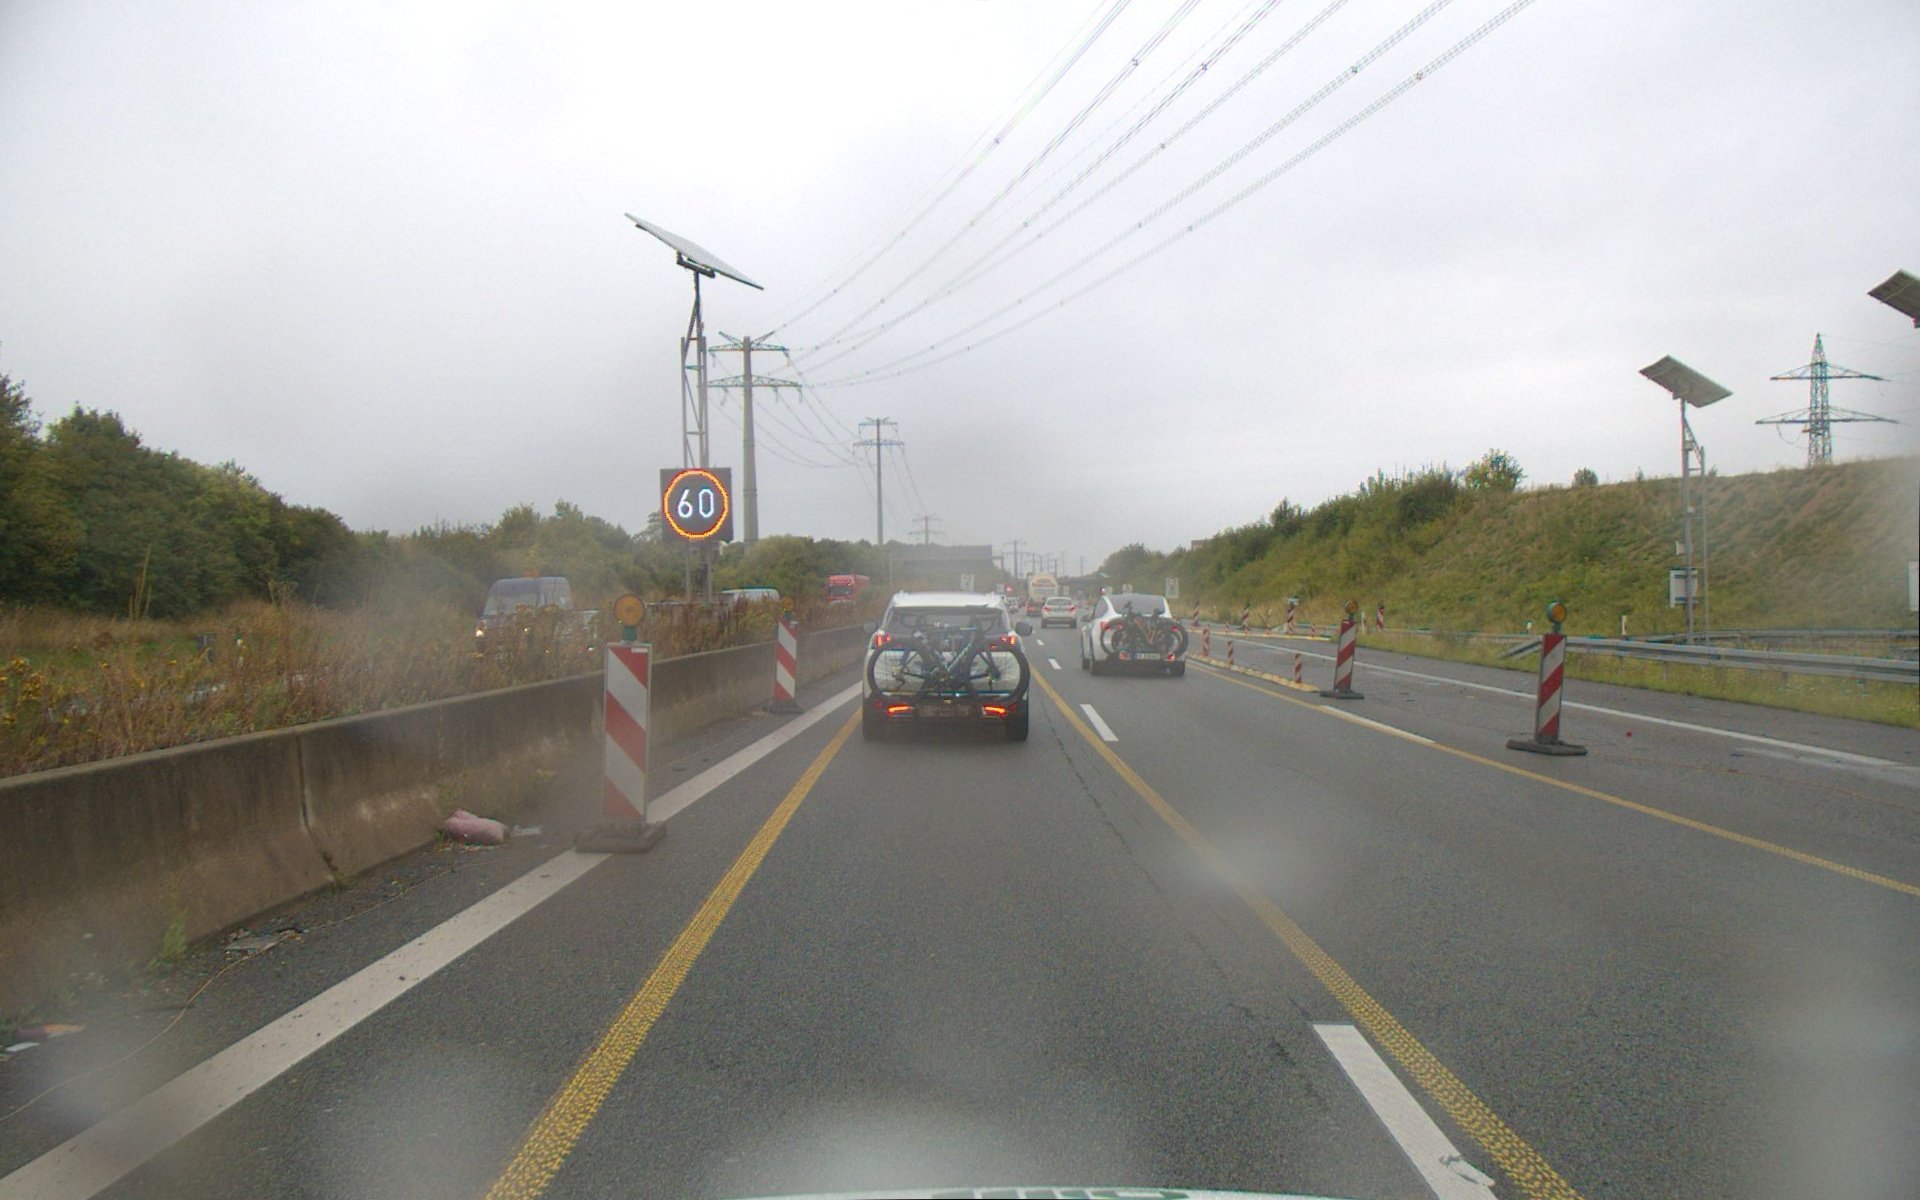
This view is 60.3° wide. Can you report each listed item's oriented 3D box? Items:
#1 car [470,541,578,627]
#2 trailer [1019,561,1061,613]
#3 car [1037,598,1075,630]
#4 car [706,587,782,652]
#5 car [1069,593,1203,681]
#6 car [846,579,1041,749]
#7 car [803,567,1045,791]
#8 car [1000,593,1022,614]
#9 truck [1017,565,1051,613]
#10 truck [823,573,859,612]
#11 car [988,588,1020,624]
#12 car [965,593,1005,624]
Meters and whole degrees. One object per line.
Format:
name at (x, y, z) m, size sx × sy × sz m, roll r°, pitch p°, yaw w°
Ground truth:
car at (-14.430, -0.476, 55.086) m, size 2.008 × 2.655 × 5.846 m, roll 1°, pitch -1°, yaw 0°
trailer at (6.492, -0.987, 135.015) m, size 2.584 × 3.961 × 10.539 m, roll 1°, pitch -1°, yaw -2°
car at (4.849, 0.675, 83.733) m, size 1.831 × 1.561 × 4.198 m, roll 0°, pitch 0°, yaw 2°
car at (-7.451, 0.661, 57.465) m, size 1.731 × 2.048 × 5.254 m, roll 4°, pitch 0°, yaw 1°
car at (3.520, 0.700, 34.177) m, size 2.004 × 1.624 × 5.799 m, roll 1°, pitch 0°, yaw -2°
car at (-0.130, 0.619, 18.418) m, size 1.888 × 1.639 × 4.595 m, roll 0°, pitch 0°, yaw 1°
car at (-0.290, 0.634, 15.569) m, size 1.953 × 1.791 × 4.000 m, roll -1°, pitch 0°, yaw 0°
car at (5.171, 0.346, 167.016) m, size 1.953 × 2.049 × 3.999 m, roll 1°, pitch -1°, yaw -1°
truck at (6.308, -0.909, 141.533) m, size 2.591 × 3.959 × 4.028 m, roll 1°, pitch -1°, yaw -2°
truck at (-11.258, -0.689, 156.701) m, size 2.962 × 3.593 × 4.926 m, roll 1°, pitch -1°, yaw 1°
car at (3.032, 0.383, 115.125) m, size 1.953 × 2.047 × 4.002 m, roll 1°, pitch 6°, yaw -1°
car at (1.284, 0.419, 87.705) m, size 1.953 × 1.611 × 3.999 m, roll 0°, pitch 0°, yaw -2°
